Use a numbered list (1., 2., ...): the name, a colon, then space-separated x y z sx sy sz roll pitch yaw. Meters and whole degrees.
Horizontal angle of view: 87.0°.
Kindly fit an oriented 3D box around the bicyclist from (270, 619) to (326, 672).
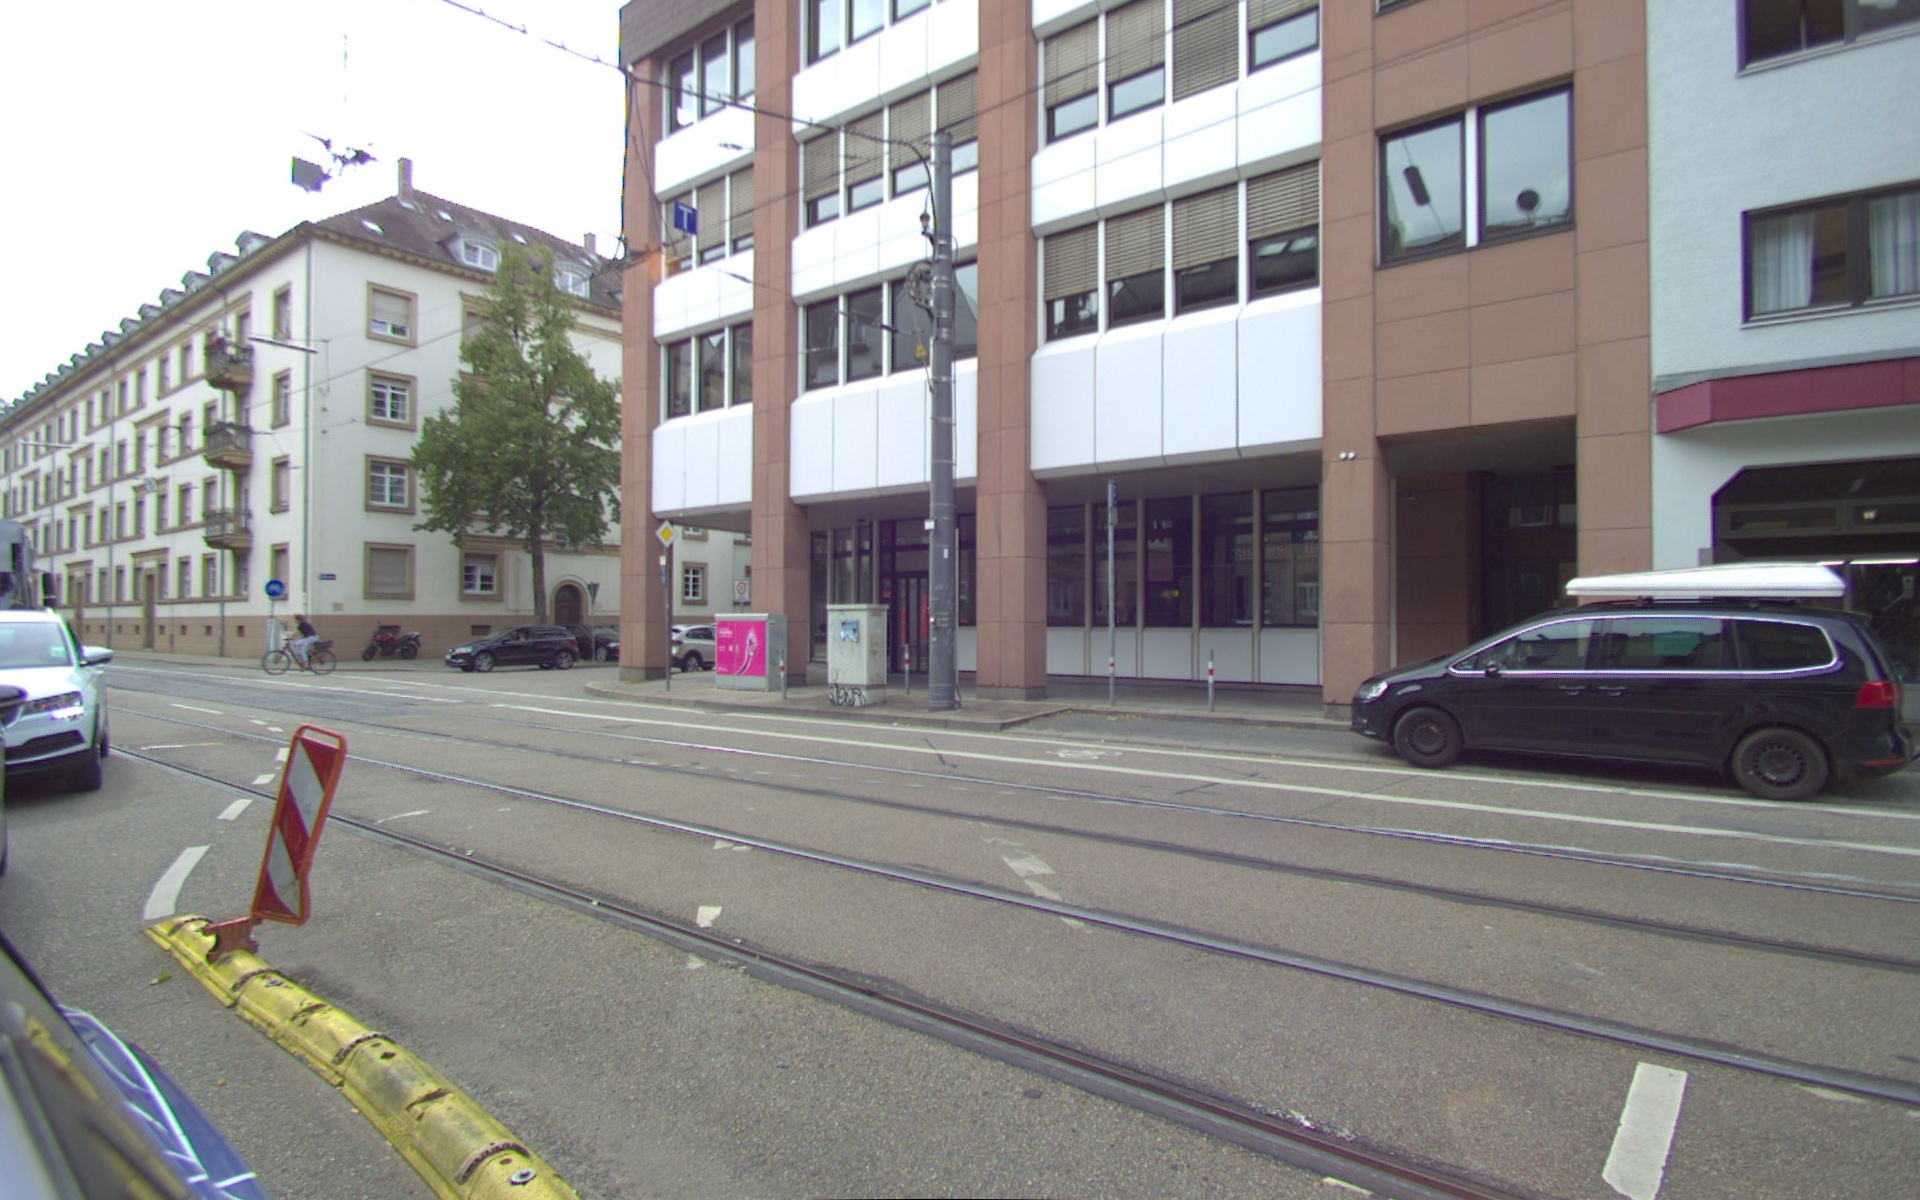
1. bicyclist: -18.797 1.280 28.754 1.238 1.473 0.679 0 -3 -27

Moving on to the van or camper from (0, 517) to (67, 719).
1. van or camper: -20.374 0.405 19.978 9.642 3.447 2.575 -2 -2 39

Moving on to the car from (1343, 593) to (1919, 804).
1. car: 6.558 0.834 10.229 4.694 1.659 1.789 -2 0 40

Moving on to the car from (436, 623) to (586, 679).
1. car: -14.098 1.556 31.889 3.985 1.549 1.777 -1 -1 -41

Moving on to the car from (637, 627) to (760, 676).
1. car: -7.949 1.536 31.040 1.606 1.399 3.611 -1 -2 31

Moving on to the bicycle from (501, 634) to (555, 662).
1. bicycle: -17.628 1.949 41.309 0.792 1.094 1.900 -2 -2 39

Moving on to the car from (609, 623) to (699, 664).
1. car: -12.257 1.701 40.430 3.711 1.559 1.591 -1 -2 38

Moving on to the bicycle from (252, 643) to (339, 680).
1. bicycle: -18.819 1.735 28.720 1.977 0.972 0.675 0 -3 -27

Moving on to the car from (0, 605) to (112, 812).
1. car: -9.111 0.895 9.276 1.748 1.603 4.285 -1 -1 -44

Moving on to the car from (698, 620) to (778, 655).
1. car: -9.851 1.644 44.779 3.520 1.473 1.572 -1 -2 38

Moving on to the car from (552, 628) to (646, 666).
1. car: -13.806 1.765 38.633 3.869 1.407 1.591 -1 -2 38

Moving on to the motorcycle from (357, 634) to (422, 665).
1. motorcycle: -20.893 1.793 37.080 0.792 1.094 1.900 -2 -2 39
